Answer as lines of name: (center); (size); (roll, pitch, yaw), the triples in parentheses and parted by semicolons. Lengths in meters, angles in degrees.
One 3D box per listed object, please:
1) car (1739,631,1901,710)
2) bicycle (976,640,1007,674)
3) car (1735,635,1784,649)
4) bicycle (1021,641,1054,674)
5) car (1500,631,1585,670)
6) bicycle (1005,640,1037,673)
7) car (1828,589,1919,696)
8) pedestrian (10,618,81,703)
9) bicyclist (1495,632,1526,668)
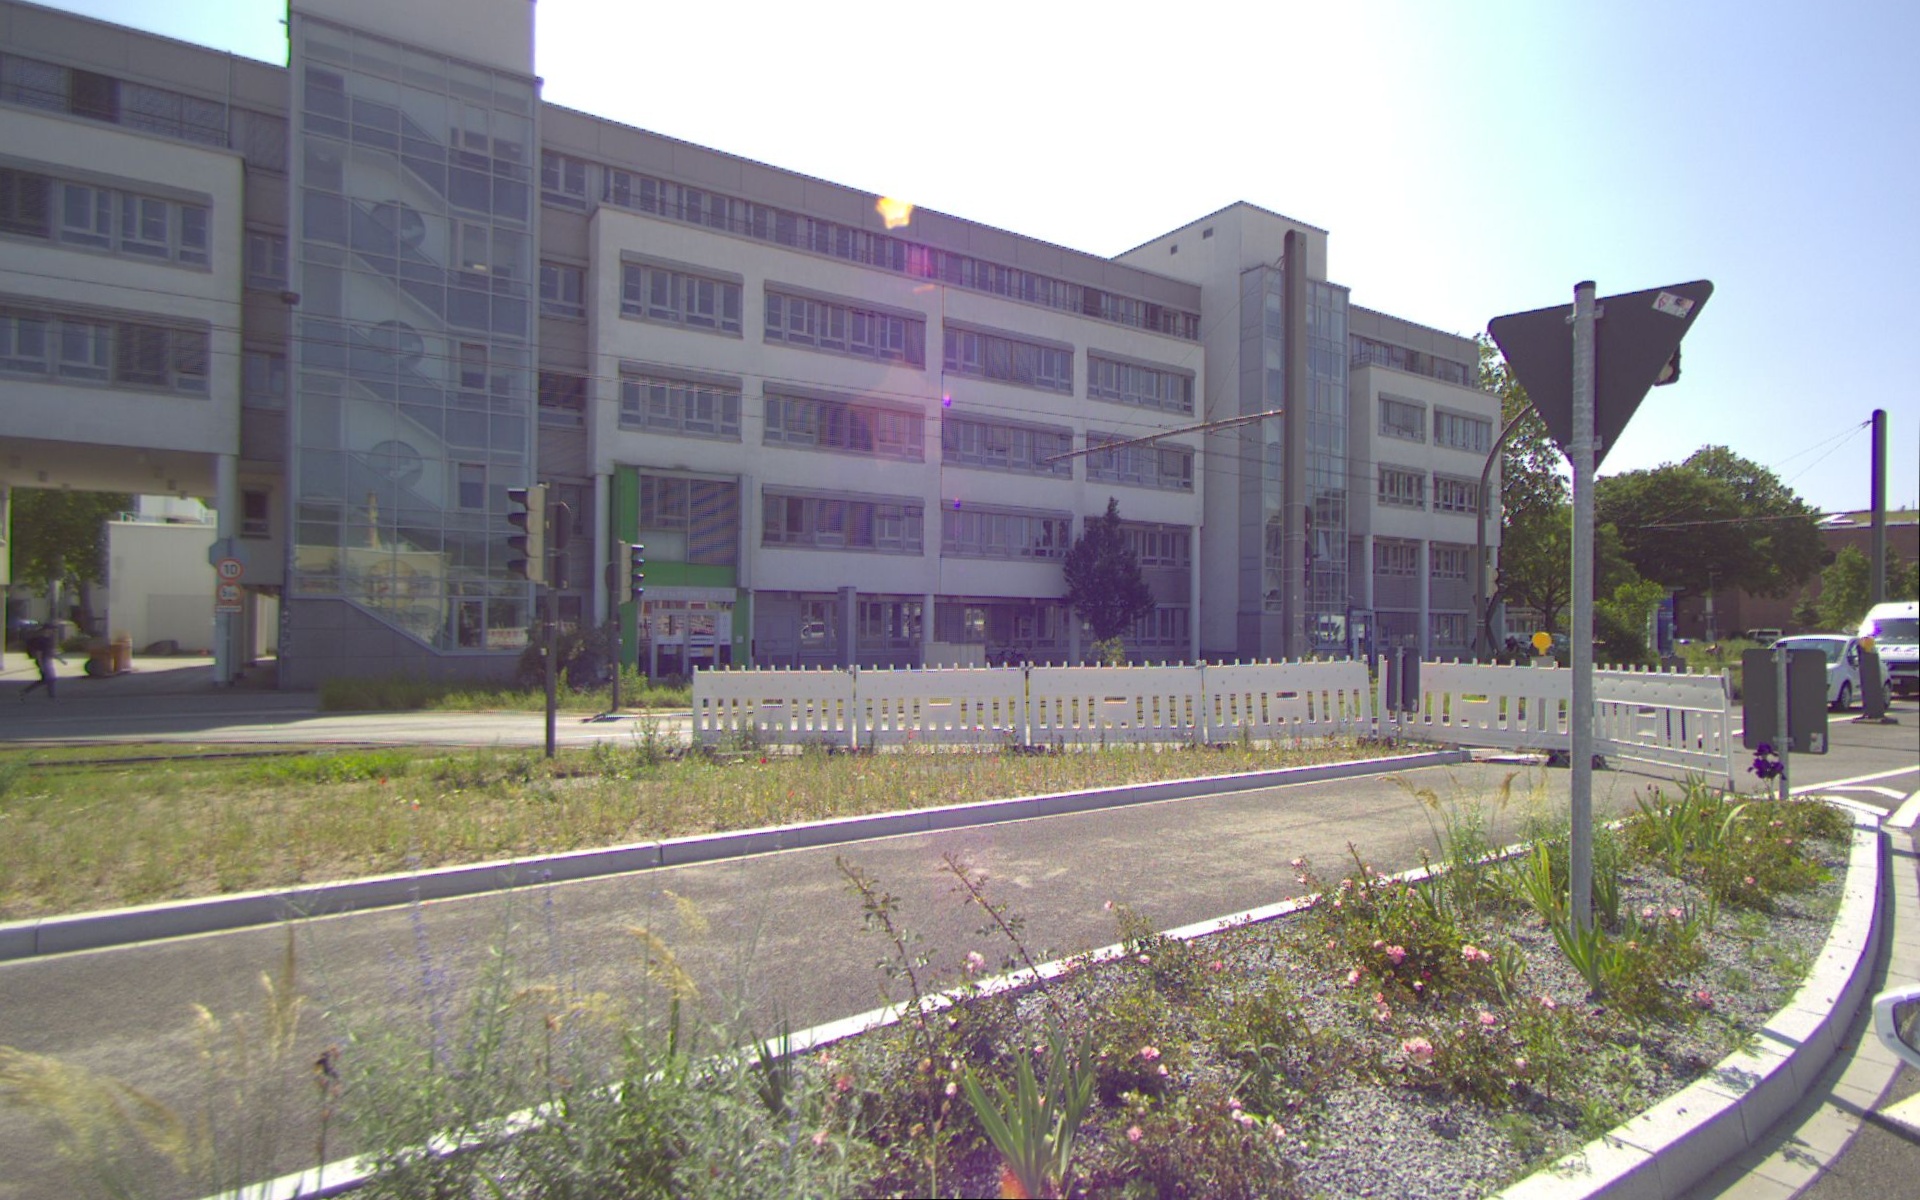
car: (18.657, 1.494, 21.755); (3.935, 1.561, 1.572); (2, -4, -33)
bicycle: (1.217, 2.208, 39.124); (0.432, 1.205, 1.640); (1, 1, -26)
car: (91.868, 4.768, 115.427); (1.975, 1.421, 3.971); (2, -1, -28)
bicycle: (3.097, 2.283, 40.285); (0.433, 1.205, 1.637); (1, 1, -32)
car: (36.507, 3.118, 63.136); (2.074, 2.208, 5.072); (1, -1, -6)
bicycle: (2.413, 2.234, 39.966); (0.433, 1.205, 1.638); (1, 1, -31)
car: (25.661, 1.158, 26.766); (6.125, 2.612, 2.020); (2, -4, -32)
pedestrian: (-21.074, 1.371, 23.169); (1.097, 1.851, 0.761); (0, 2, -33)
bicyclist: (24.422, 2.221, 44.574); (1.065, 1.560, 0.750); (2, -1, -32)
